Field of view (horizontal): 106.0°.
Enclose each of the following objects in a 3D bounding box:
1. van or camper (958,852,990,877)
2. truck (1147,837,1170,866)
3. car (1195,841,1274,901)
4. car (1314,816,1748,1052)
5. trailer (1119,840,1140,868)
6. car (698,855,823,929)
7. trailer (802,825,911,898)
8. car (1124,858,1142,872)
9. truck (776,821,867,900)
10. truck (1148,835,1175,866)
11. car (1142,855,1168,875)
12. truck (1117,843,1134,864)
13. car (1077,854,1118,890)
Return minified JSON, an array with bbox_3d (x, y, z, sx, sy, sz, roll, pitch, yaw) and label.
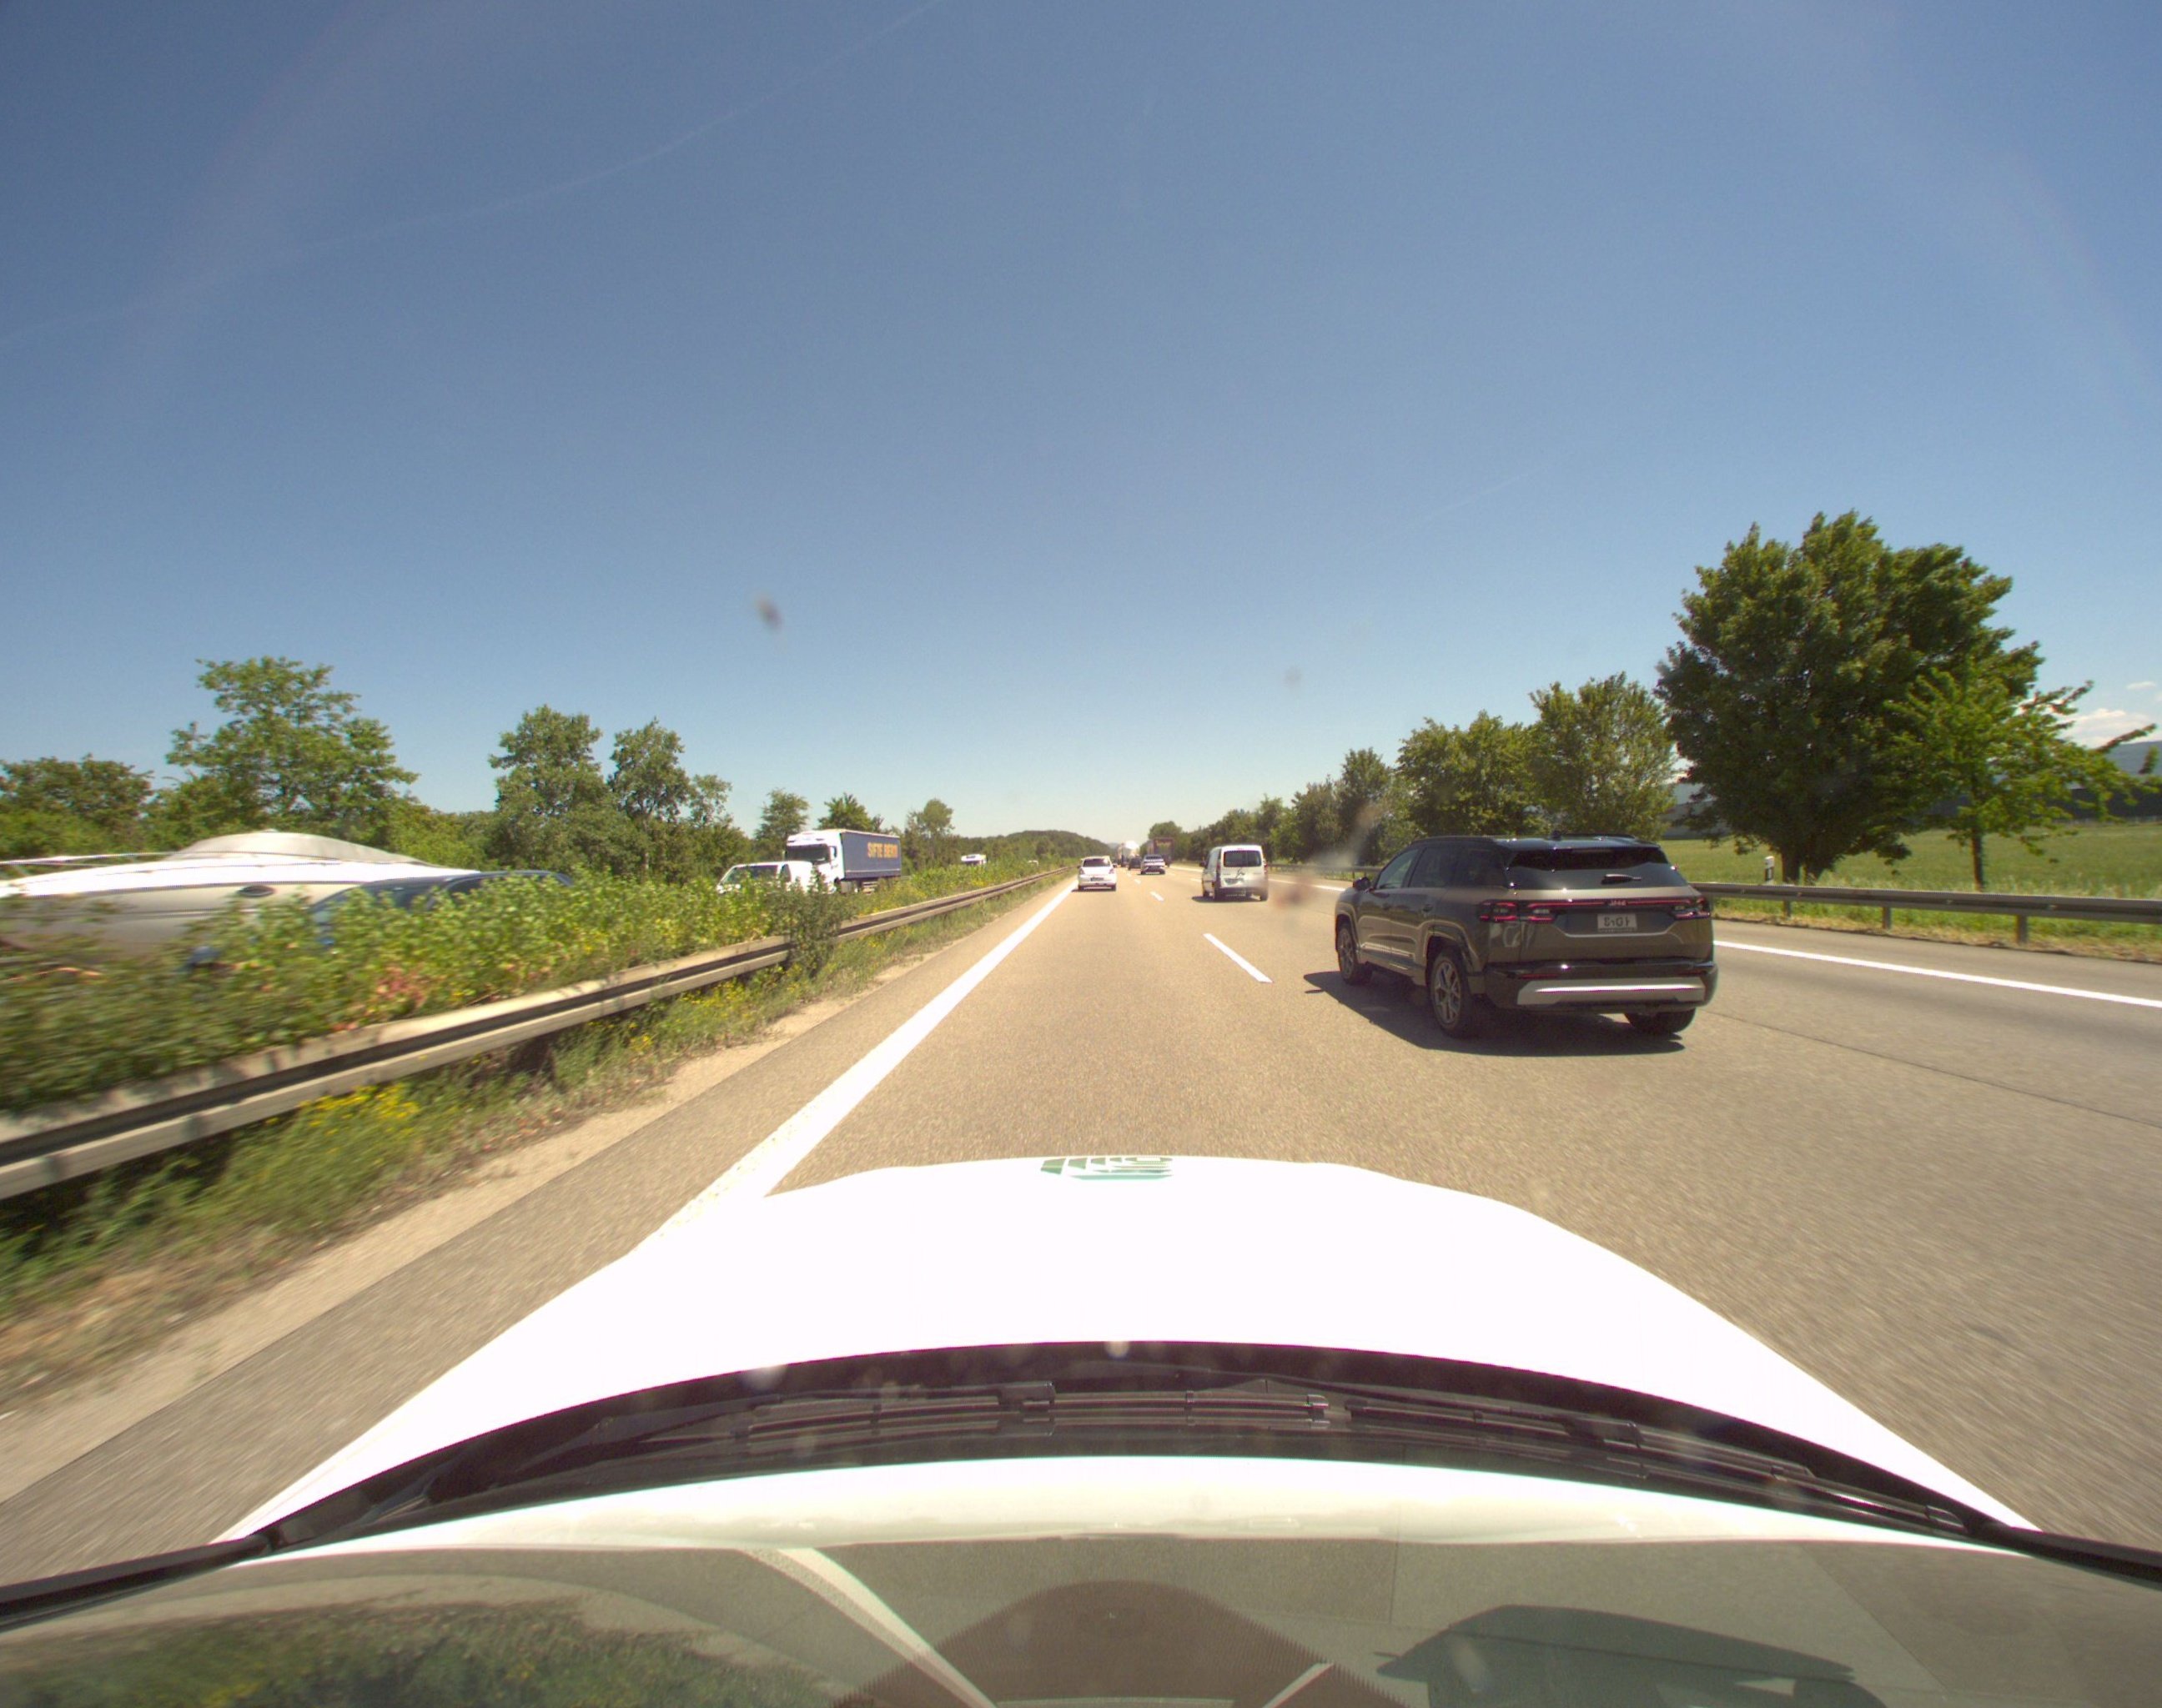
[{"bbox_3d":[-13.701,1.323,104.791,2.839,2.969,7.449,-4,-1,2],"label":"van or camper"},{"bbox_3d":[11.773,-0.350,124.024,3.096,4.139,8.061,-1,0,3],"label":"truck"},{"bbox_3d":[5.143,0.536,27.868,1.847,1.863,4.702,-1,0,1],"label":"car"},{"bbox_3d":[3.892,0.586,8.204,1.860,1.675,4.748,-1,0,2],"label":"car"},{"bbox_3d":[7.316,0.073,124.726,2.900,4.069,12.422,-1,0,2],"label":"trailer"},{"bbox_3d":[-9.808,1.080,25.369,1.987,2.073,4.712,-1,0,0],"label":"car"},{"bbox_3d":[-14.870,0.698,55.514,2.966,4.212,13.739,-3,-2,2],"label":"trailer"},{"bbox_3d":[5.753,1.188,89.742,1.843,1.523,3.959,-1,0,2],"label":"car"},{"bbox_3d":[-15.146,0.450,48.047,2.995,4.212,6.313,-3,-2,2],"label":"truck"},{"bbox_3d":[11.476,-0.387,118.040,3.096,4.139,15.521,-1,0,3],"label":"truck"},{"bbox_3d":[6.033,0.865,66.741,1.795,1.603,4.382,-1,0,2],"label":"car"},{"bbox_3d":[9.417,-0.001,173.610,3.381,4.214,12.091,-1,0,3],"label":"truck"},{"bbox_3d":[0.753,0.799,36.911,1.793,1.552,3.610,-1,0,1],"label":"car"}]
